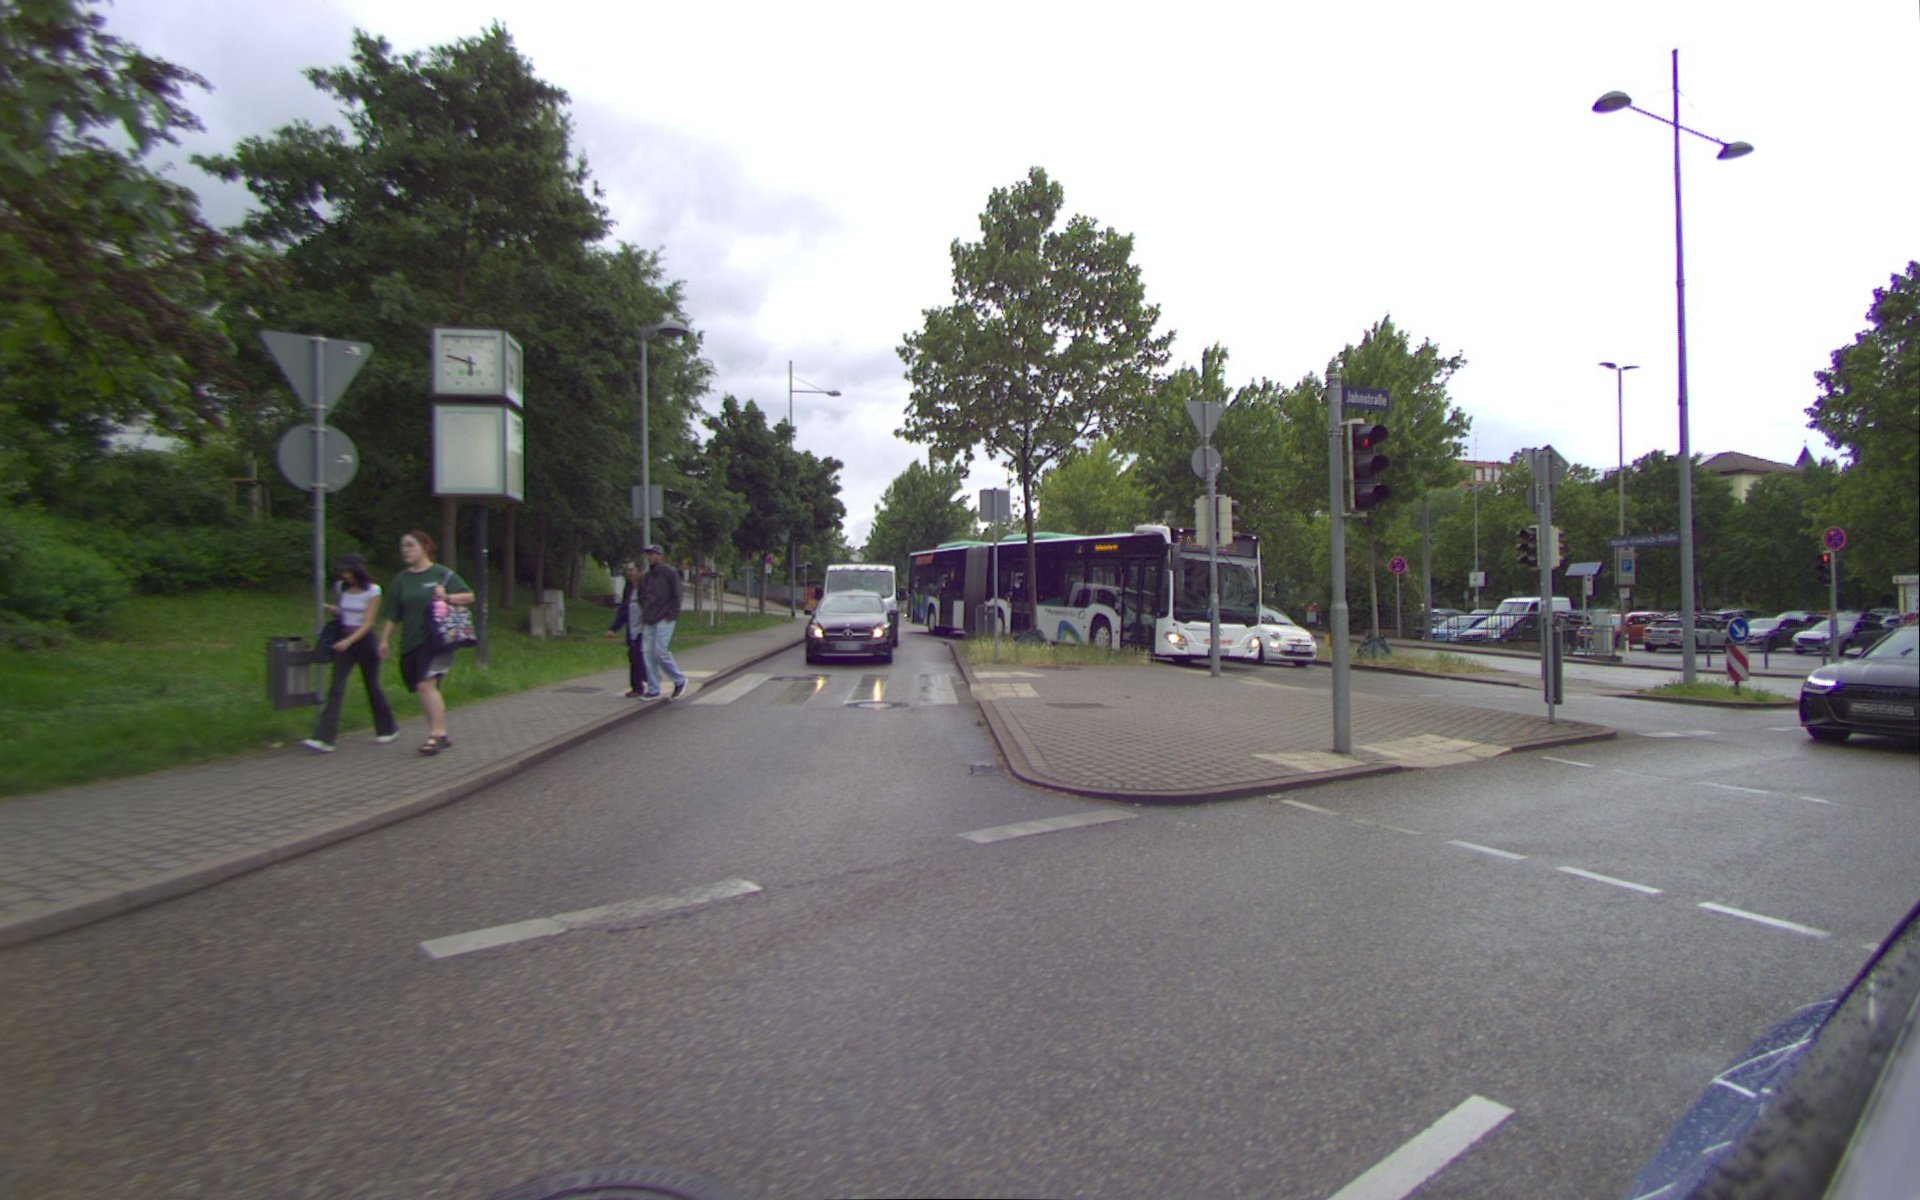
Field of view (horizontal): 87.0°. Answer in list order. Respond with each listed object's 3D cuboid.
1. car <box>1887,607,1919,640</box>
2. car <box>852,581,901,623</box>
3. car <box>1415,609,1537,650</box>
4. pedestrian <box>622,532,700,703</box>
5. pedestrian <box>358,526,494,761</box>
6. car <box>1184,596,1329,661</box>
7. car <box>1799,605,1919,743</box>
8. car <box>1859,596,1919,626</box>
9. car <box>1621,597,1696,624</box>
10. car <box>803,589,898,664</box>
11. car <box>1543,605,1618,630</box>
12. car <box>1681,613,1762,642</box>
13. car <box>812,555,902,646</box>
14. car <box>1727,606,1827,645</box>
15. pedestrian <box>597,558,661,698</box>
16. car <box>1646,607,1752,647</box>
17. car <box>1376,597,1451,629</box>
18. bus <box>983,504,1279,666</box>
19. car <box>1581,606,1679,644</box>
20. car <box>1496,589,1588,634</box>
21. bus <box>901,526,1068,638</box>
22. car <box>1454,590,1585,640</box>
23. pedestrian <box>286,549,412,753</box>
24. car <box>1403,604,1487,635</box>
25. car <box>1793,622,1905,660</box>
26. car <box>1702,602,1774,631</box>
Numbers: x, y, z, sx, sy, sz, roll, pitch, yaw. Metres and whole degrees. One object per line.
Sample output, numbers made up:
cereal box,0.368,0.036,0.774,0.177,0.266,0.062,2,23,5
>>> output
car,45.592,1.097,47.660,3.286,1.440,1.643,-1,-1,-25
car,-3.579,0.079,43.073,1.960,1.673,4.880,0,0,-5
car,19.530,1.069,38.276,4.173,1.458,1.860,0,0,-23
pedestrian,-3.690,0.203,12.524,0.580,2.039,0.783,1,0,15
pedestrian,-4.412,0.339,8.404,0.729,1.853,0.694,2,1,0
car,7.224,0.676,24.985,1.557,1.470,3.575,1,-1,-22
car,12.023,0.793,11.849,4.272,1.422,1.901,0,1,-28
car,57.091,0.654,61.633,4.352,1.710,1.785,-1,-2,-23
car,44.720,0.678,64.772,4.535,1.691,1.976,1,0,-26
car,-2.208,0.480,21.285,1.760,1.391,4.100,0,1,-3
car,31.823,0.893,51.910,3.557,1.252,1.535,1,0,-23
car,34.876,1.261,46.377,3.285,1.252,1.535,1,0,-23
car,-2.770,-0.048,28.424,2.211,2.262,6.347,0,1,-4
car,35.515,1.106,44.002,3.916,1.611,1.766,1,0,-23
pedestrian,-4.204,0.344,12.851,0.553,1.727,0.523,1,0,31
car,30.920,1.111,42.340,4.089,1.611,1.766,1,0,-23
car,27.622,0.790,61.609,4.273,1.853,1.837,1,0,-25
bus,3.681,-0.362,25.272,2.648,3.257,9.679,1,1,-21
car,29.857,1.085,45.091,3.916,1.611,1.766,1,0,-23
car,31.981,0.635,55.583,4.909,2.349,1.976,1,0,-26
bus,0.517,-0.562,33.742,2.631,3.220,8.579,1,0,-20
car,19.451,0.497,35.164,4.173,1.633,1.809,0,0,-23
pedestrian,-5.103,0.395,8.484,0.592,1.619,0.706,2,2,6
car,25.626,1.028,53.476,3.915,1.586,1.766,1,0,-19
car,36.261,1.654,41.266,4.352,1.458,1.742,1,0,-24
car,42.155,0.889,54.852,3.557,1.523,1.535,1,0,-23
